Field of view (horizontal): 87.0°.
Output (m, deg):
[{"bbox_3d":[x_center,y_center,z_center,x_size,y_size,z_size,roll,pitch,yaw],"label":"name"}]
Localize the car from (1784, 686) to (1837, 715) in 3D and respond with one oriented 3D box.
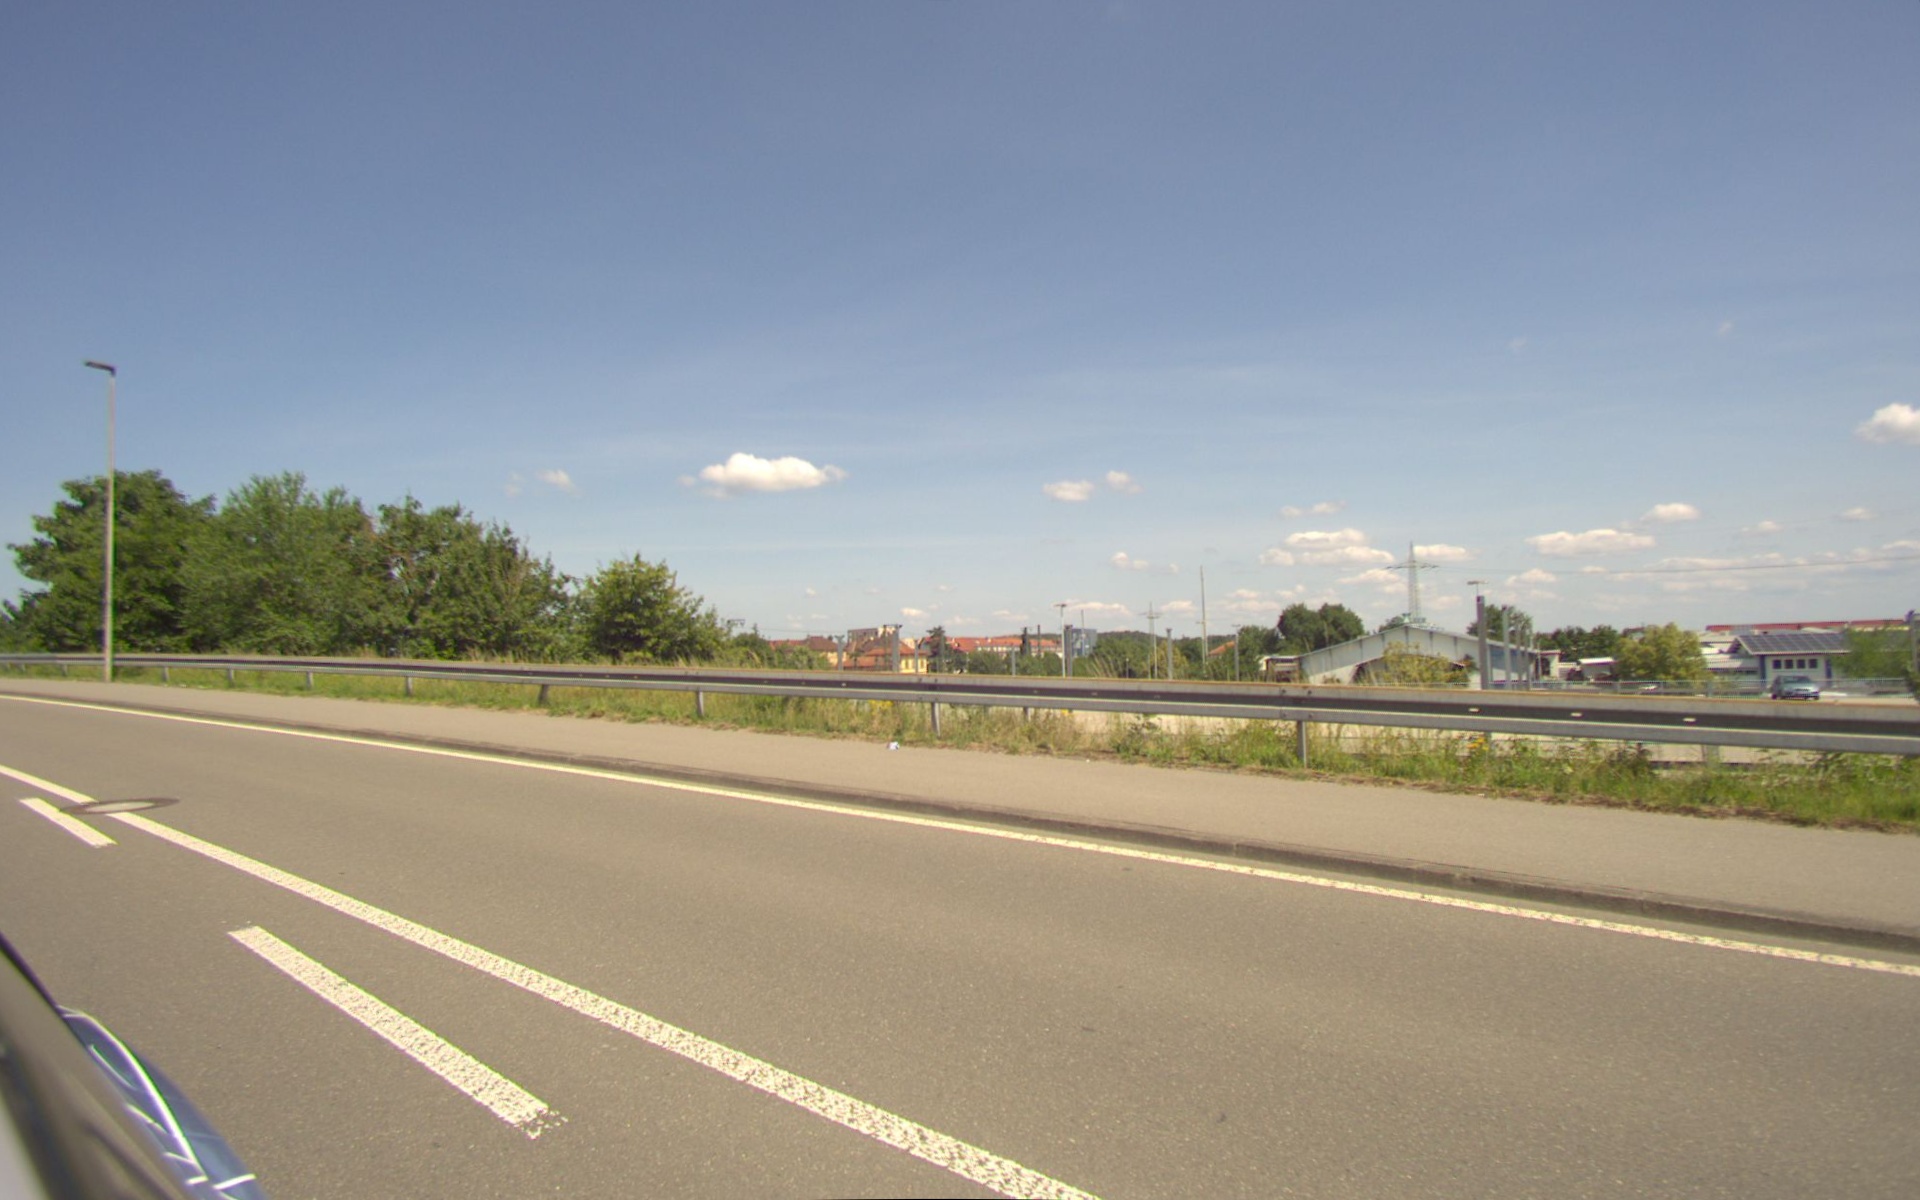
[{"bbox_3d":[48.755,5.749,58.073,1.688,1.401,3.770,-5,-4,32],"label":"car"}]
